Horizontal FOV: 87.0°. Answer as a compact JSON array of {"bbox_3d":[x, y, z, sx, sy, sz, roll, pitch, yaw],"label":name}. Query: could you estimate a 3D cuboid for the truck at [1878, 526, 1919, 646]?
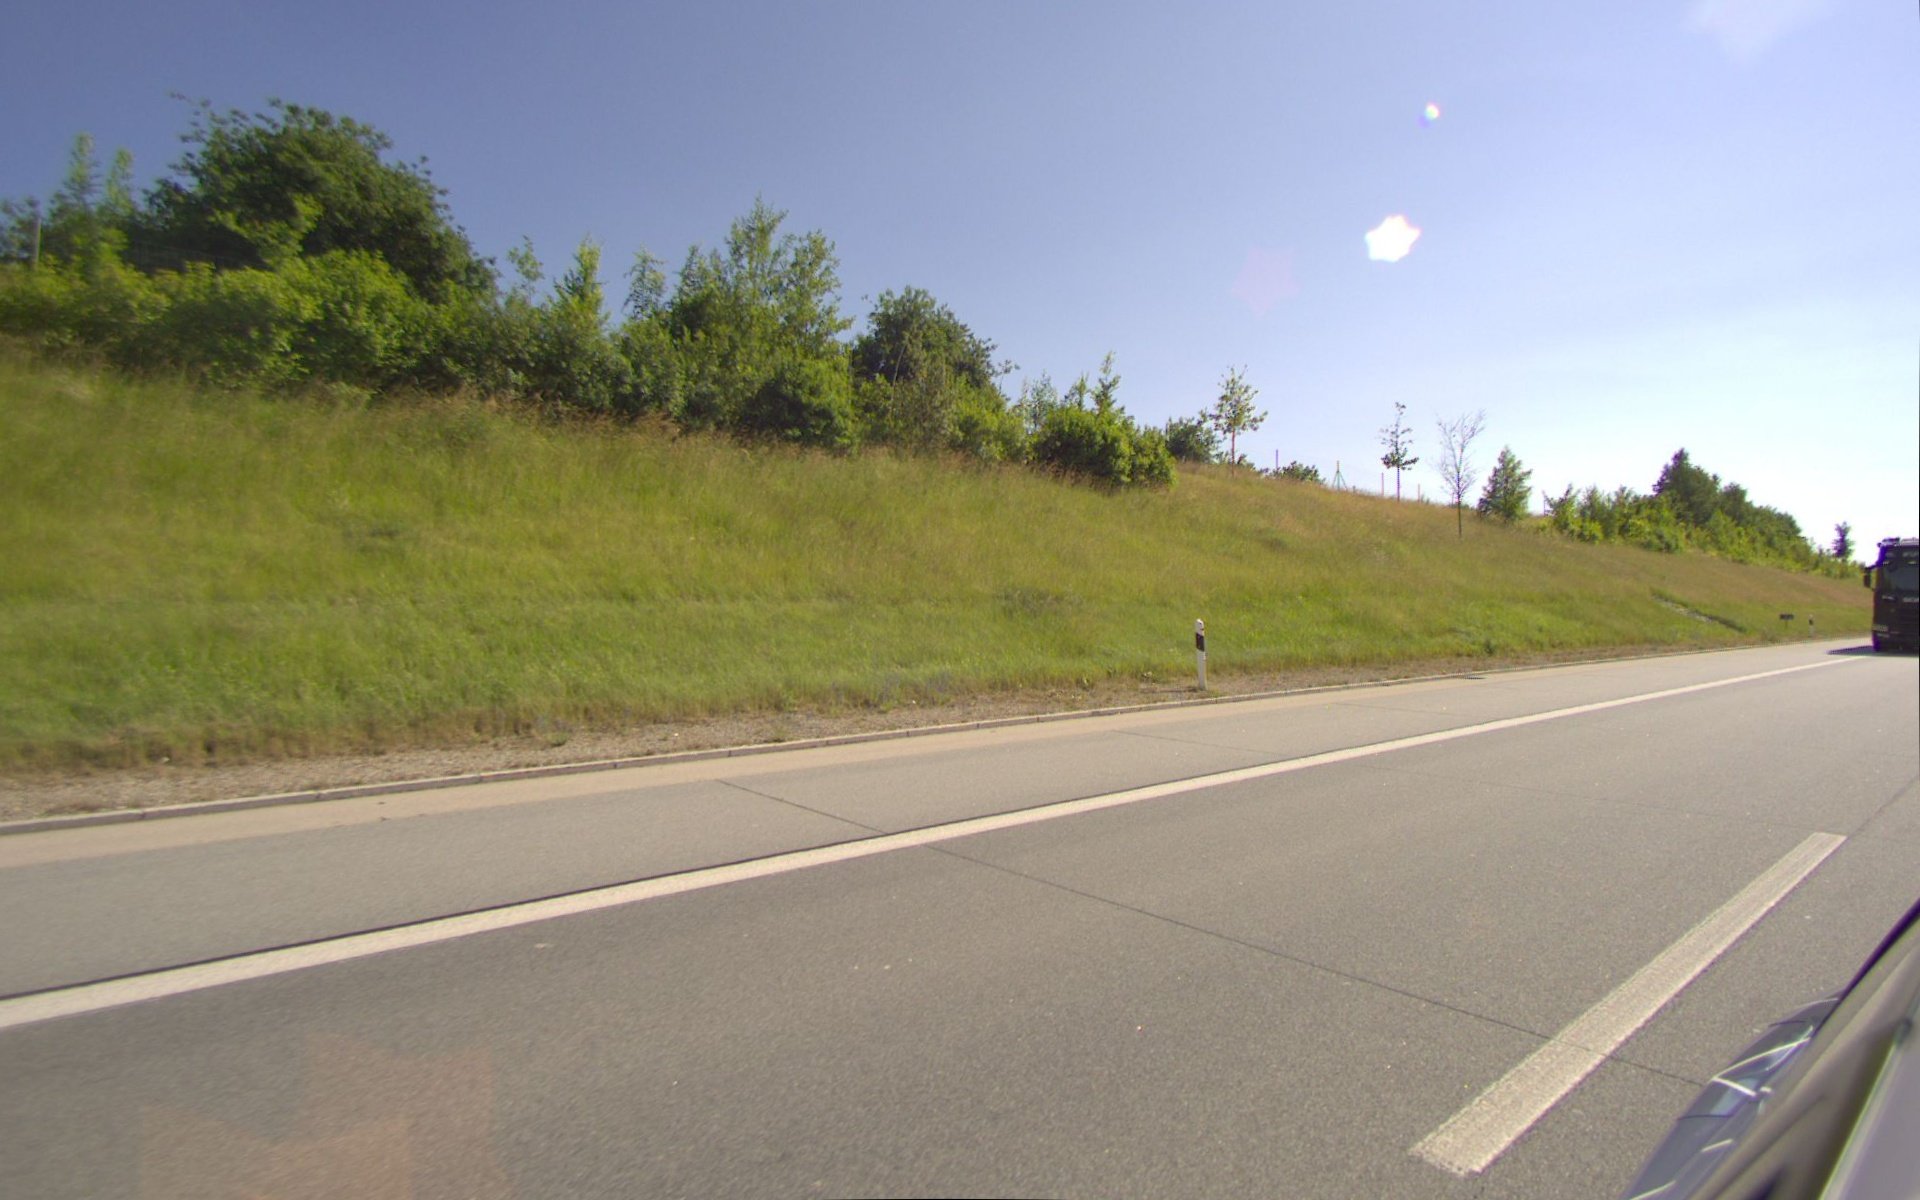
[{"bbox_3d":[36.070,-0.441,36.460,13.163,3.866,2.622,0,0,-40],"label":"truck"}]
